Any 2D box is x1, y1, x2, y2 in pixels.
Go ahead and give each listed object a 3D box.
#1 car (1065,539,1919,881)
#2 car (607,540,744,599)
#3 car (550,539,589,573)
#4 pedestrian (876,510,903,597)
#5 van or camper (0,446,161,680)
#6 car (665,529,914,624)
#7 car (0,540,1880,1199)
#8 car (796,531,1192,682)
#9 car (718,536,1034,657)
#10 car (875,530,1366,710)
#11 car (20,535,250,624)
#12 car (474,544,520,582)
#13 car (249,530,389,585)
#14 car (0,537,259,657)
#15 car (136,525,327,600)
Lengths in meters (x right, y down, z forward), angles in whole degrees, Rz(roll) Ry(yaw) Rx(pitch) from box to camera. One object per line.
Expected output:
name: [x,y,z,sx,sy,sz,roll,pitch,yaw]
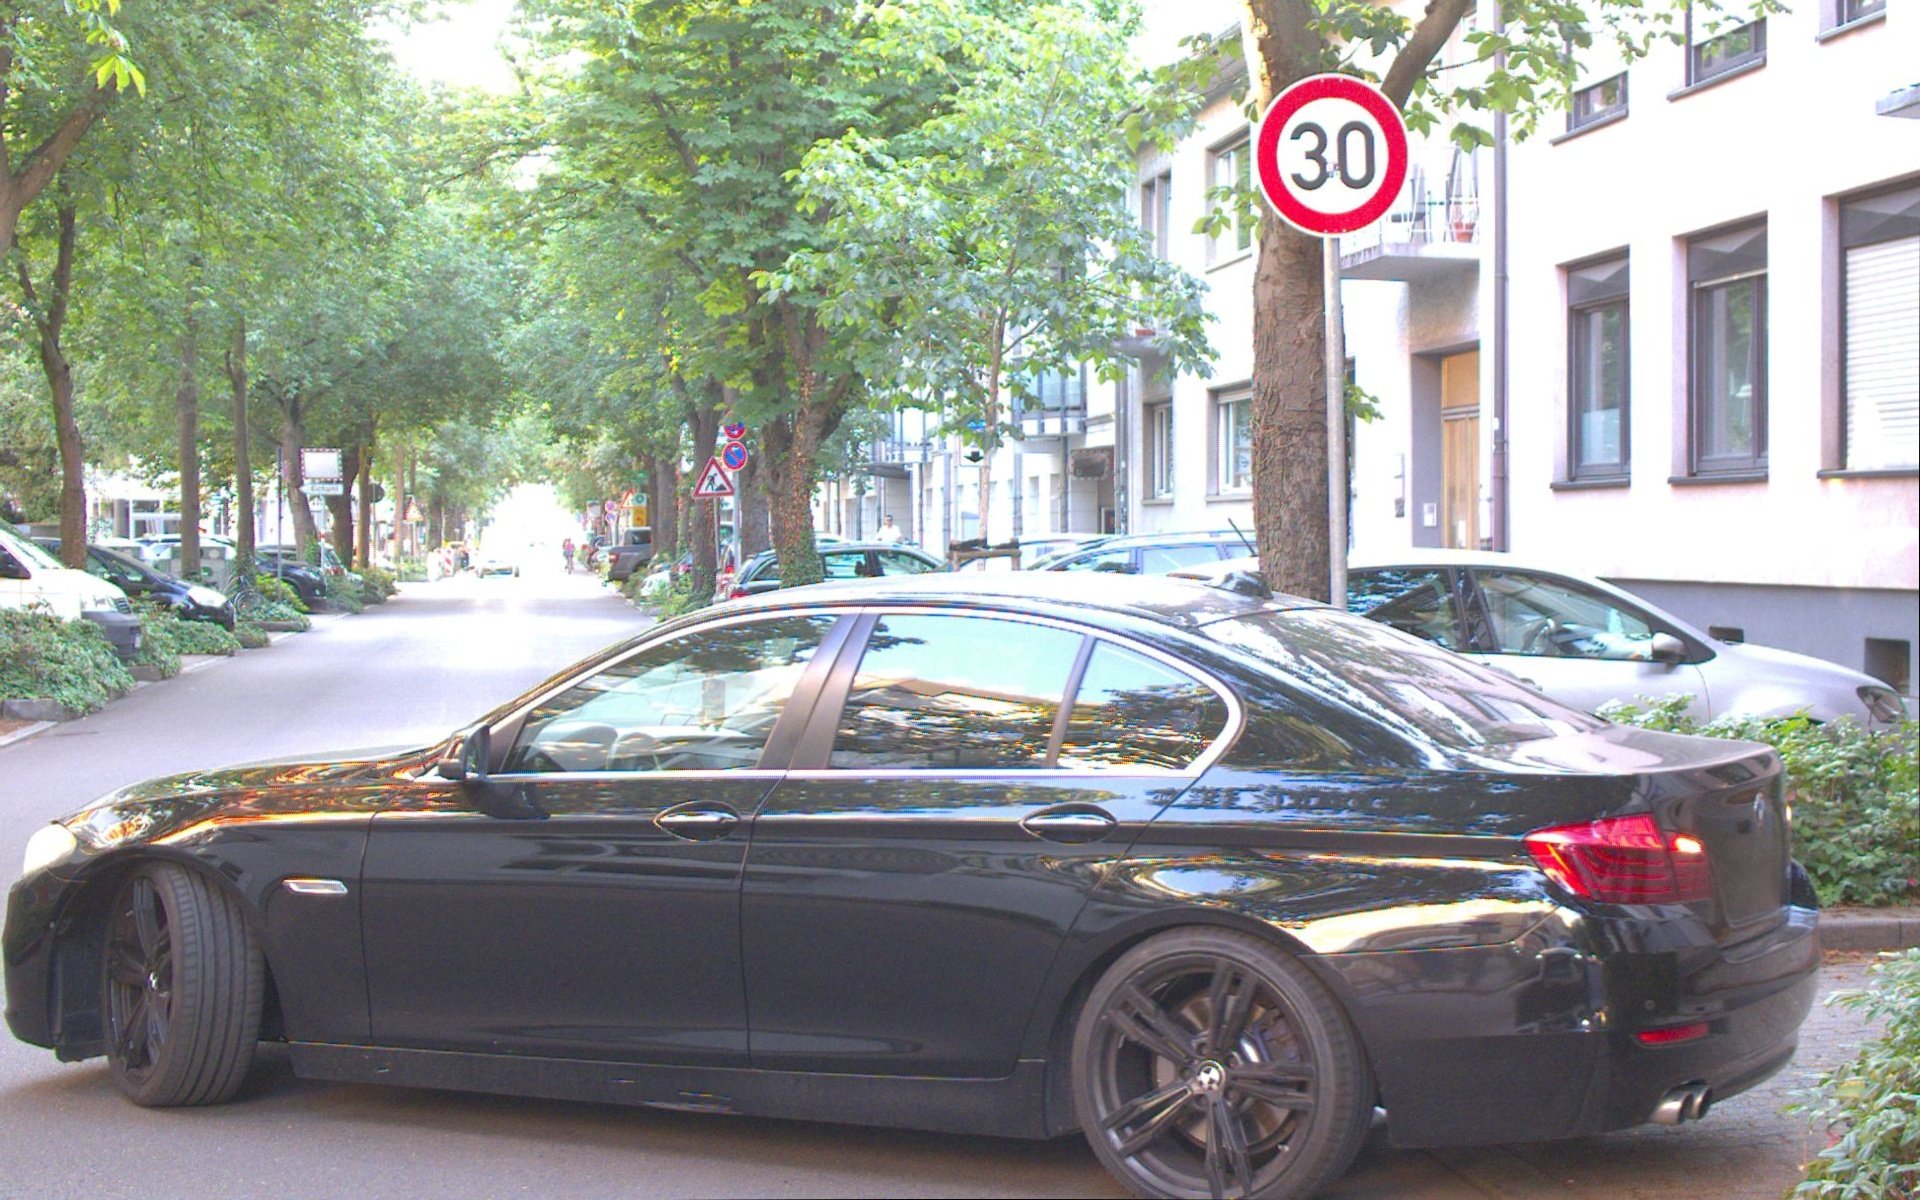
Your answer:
car: [2.569,0.464,16.151,3.908,1.471,1.665,-1,1,-8]
car: [-8.345,-0.911,100.851,3.967,1.678,1.785,0,1,-5]
car: [-18.461,-2.092,162.647,1.822,1.525,4.001,-1,1,-6]
pedestrian: [-1.636,-1.081,79.685,0.589,2.007,0.669,0,1,-5]
van or camper: [-11.126,-0.401,37.120,4.662,2.470,2.000,0,1,-7]
car: [-2.844,-0.399,56.899,3.967,1.522,1.785,-1,1,-8]
car: [-0.214,0.593,8.897,4.752,1.475,1.797,0,1,27]
car: [0.322,0.047,36.224,3.967,1.522,1.785,0,1,-7]
car: [-1.129,-0.066,45.035,3.967,1.522,1.785,0,1,-7]
car: [1.349,0.147,29.767,3.967,1.471,1.785,-1,1,-8]
car: [-15.460,-0.405,64.584,3.967,1.614,1.785,0,1,-5]
car: [-19.385,-1.554,143.969,1.779,1.557,4.169,0,1,-6]
car: [-19.176,-1.276,102.928,3.967,1.614,1.785,0,1,-5]
car: [-11.923,-0.058,48.119,3.967,1.614,1.785,0,1,-6]
car: [-16.124,-0.837,76.245,3.967,1.614,1.785,0,1,-5]
